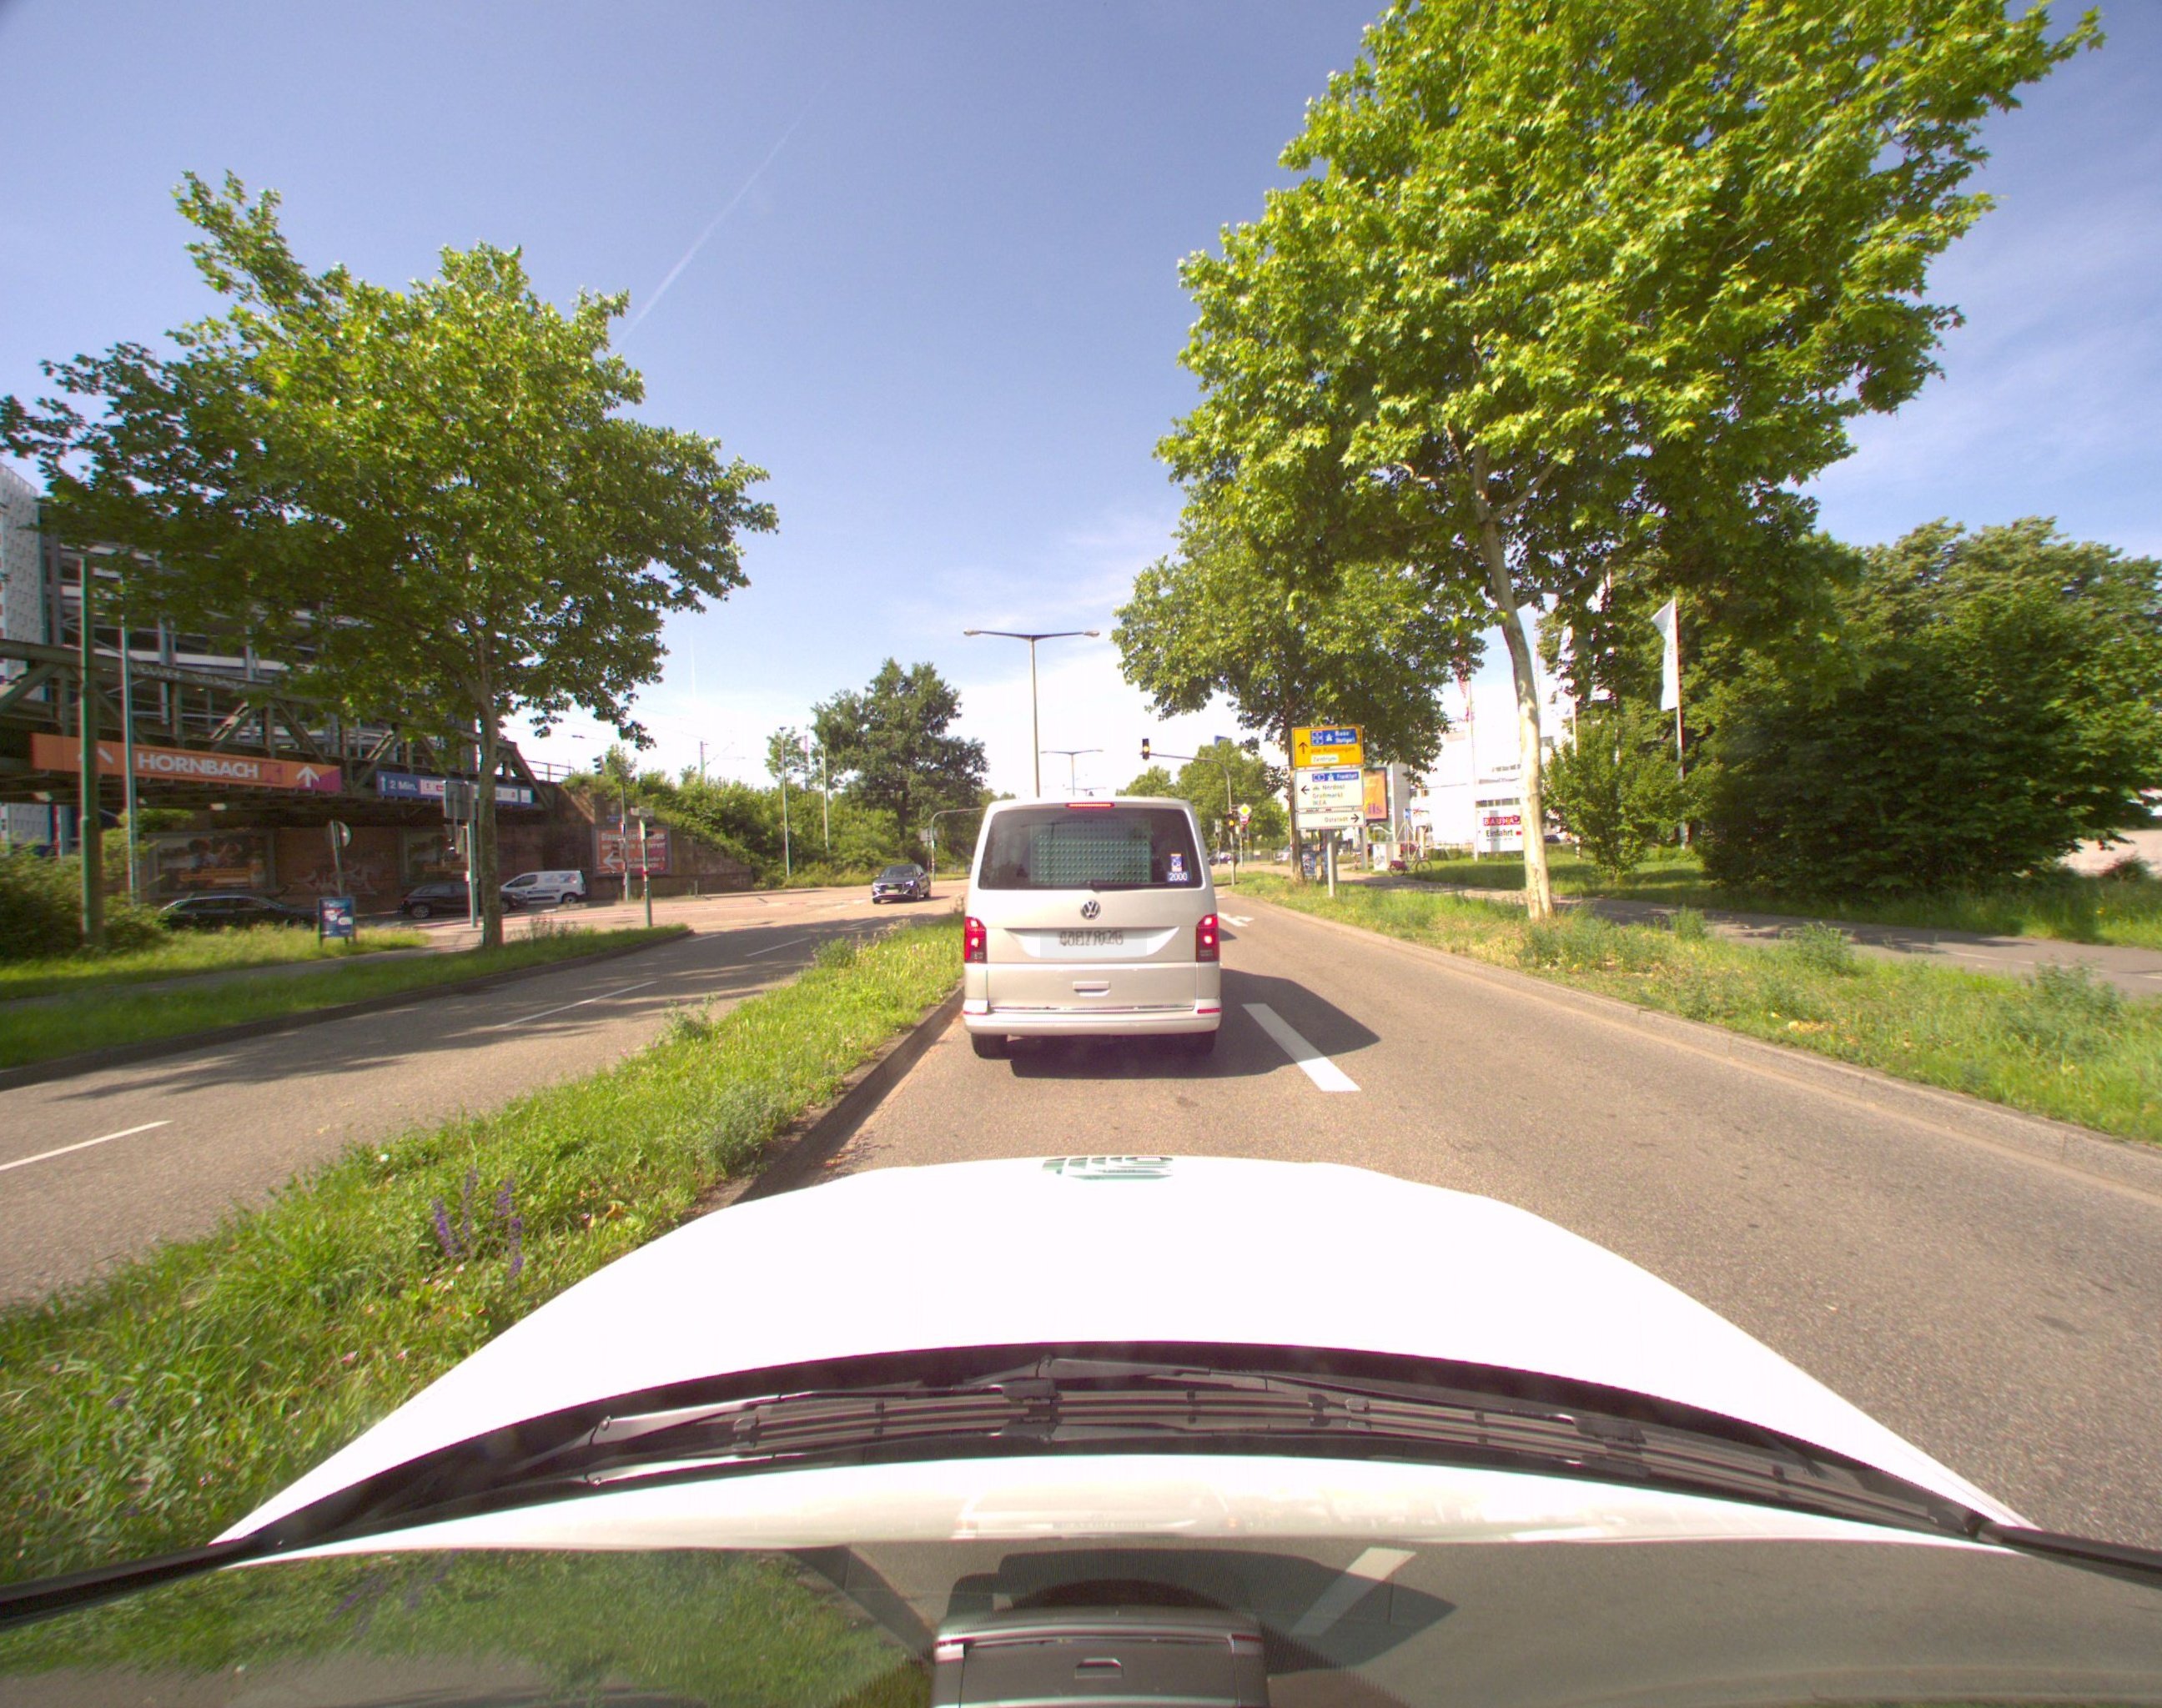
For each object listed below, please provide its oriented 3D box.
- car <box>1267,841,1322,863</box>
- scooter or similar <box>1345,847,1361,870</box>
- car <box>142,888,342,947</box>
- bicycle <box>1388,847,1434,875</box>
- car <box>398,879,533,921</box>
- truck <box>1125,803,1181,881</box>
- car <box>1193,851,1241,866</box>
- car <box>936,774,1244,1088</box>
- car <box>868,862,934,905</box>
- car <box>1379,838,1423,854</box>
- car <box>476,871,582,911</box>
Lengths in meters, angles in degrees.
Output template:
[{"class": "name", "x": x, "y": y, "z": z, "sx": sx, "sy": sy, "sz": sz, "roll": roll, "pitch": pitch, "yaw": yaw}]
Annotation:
[{"class": "car", "x": 17.980, "y": -0.180, "z": 68.430, "sx": 4.646, "sy": 1.689, "sz": 1.895, "roll": -3, "pitch": 0, "yaw": -35}, {"class": "scooter or similar", "x": 14.110, "y": 0.237, "z": 42.216, "sx": 0.423, "sy": 1.126, "sz": 1.124, "roll": -3, "pitch": 0, "yaw": 1}, {"class": "car", "x": -25.567, "y": 1.877, "z": 25.026, "sx": 3.959, "sy": 1.481, "sz": 1.804, "roll": -1, "pitch": -1, "yaw": -34}, {"class": "bicycle", "x": 14.194, "y": 0.298, "z": 35.077, "sx": 1.771, "sy": 1.108, "sz": 0.506, "roll": -4, "pitch": -1, "yaw": 20}, {"class": "car", "x": -25.601, "y": 1.877, "z": 34.079, "sx": 4.353, "sy": 1.395, "sz": 1.752, "roll": -3, "pitch": 0, "yaw": -35}, {"class": "truck", "x": 3.997, "y": -0.632, "z": 47.040, "sx": 2.543, "sy": 3.957, "sz": 8.977, "roll": -2, "pitch": 0, "yaw": 2}, {"class": "car", "x": 14.414, "y": 0.487, "z": 86.184, "sx": 4.567, "sy": 1.444, "sz": 1.793, "roll": -3, "pitch": 0, "yaw": 31}, {"class": "car", "x": 0.135, "y": 0.504, "z": 7.772, "sx": 1.934, "sy": 1.971, "sz": 5.024, "roll": -2, "pitch": 0, "yaw": 2}, {"class": "car", "x": -7.318, "y": 1.151, "z": 33.461, "sx": 1.859, "sy": 1.467, "sz": 3.934, "roll": -4, "pitch": 1, "yaw": -3}, {"class": "car", "x": 31.996, "y": -0.786, "z": 81.468, "sx": 4.646, "sy": 1.444, "sz": 1.762, "roll": -3, "pitch": 0, "yaw": -35}, {"class": "car", "x": -26.519, "y": 1.745, "z": 39.240, "sx": 4.113, "sy": 1.649, "sz": 1.752, "roll": -2, "pitch": -1, "yaw": -35}]
